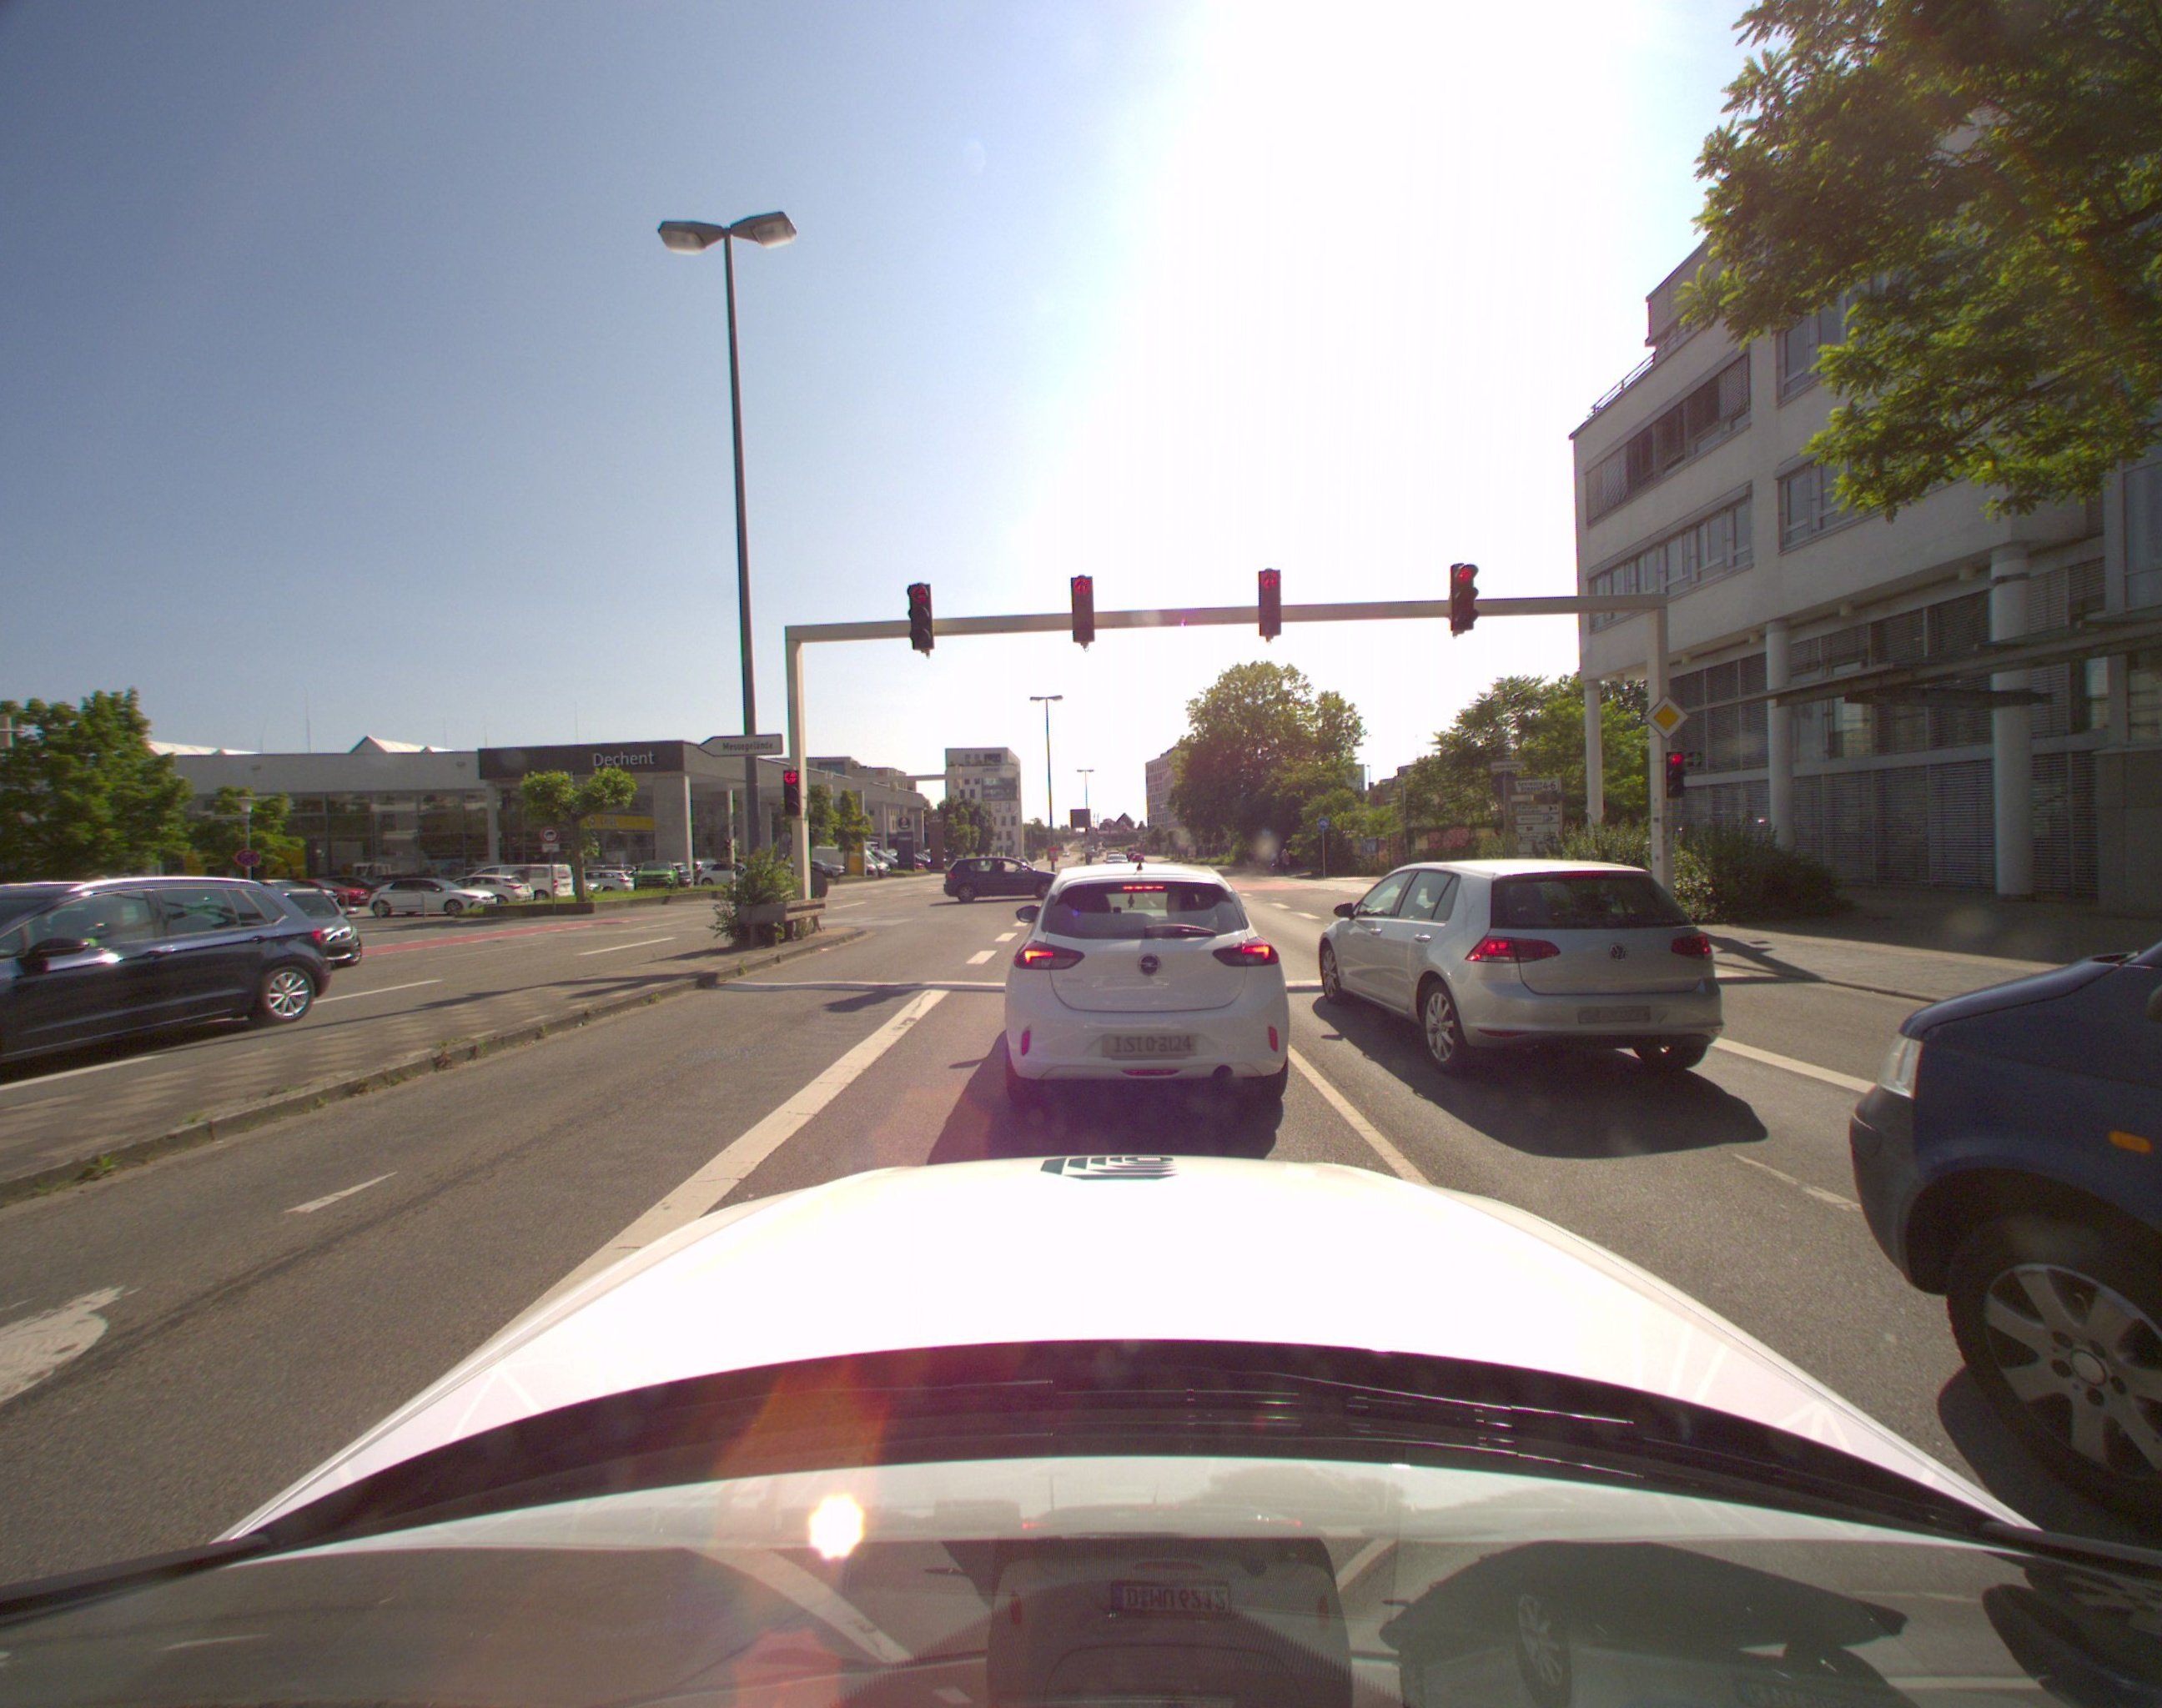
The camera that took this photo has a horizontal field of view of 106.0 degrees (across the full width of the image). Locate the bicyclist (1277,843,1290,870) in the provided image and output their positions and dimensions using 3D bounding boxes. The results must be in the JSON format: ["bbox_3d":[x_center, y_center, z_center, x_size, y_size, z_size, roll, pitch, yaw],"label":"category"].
[{"bbox_3d":[12.399,0.154,49.792,0.650,1.637,0.660,0,-1,1],"label":"bicyclist"}]

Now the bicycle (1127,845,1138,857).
[{"bbox_3d":[9.805,-0.611,155.591,1.986,2.157,4.001,-2,0,1],"label":"bicycle"}]

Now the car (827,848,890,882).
[{"bbox_3d":[-18.660,0.944,68.372,4.469,2.684,2.134,-2,0,10],"label":"car"}]

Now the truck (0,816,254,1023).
[{"bbox_3d":[-14.539,0.883,9.696,2.346,2.545,6.445,-4,0,4],"label":"truck"}]

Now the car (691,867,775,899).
[{"bbox_3d":[-19.974,1.648,46.920,3.981,1.599,1.996,-2,0,-6],"label":"car"}]

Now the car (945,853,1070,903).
[{"bbox_3d":[-2.463,0.763,27.222,3.985,1.442,1.995,-2,0,-8],"label":"car"}]

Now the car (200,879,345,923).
[{"bbox_3d":[-36.635,2.103,37.000,4.348,1.696,1.997,-2,0,-4],"label":"car"}]

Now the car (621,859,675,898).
[{"bbox_3d":[-21.254,1.216,39.943,1.915,1.733,3.258,-2,-1,-35],"label":"car"}]

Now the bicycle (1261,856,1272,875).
[{"bbox_3d":[11.163,0.704,49.028,0.372,1.147,1.034,0,-1,0],"label":"bicycle"}]

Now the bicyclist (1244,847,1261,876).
[{"bbox_3d":[10.678,0.465,50.718,0.876,1.772,0.864,-2,0,1],"label":"bicyclist"}]

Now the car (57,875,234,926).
[{"bbox_3d":[-36.584,1.780,31.950,4.348,1.696,1.997,-2,0,-4],"label":"car"}]

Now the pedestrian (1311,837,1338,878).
[{"bbox_3d":[12.383,0.185,41.495,1.023,2.013,1.039,-2,0,1],"label":"pedestrian"}]

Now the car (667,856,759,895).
[{"bbox_3d":[-19.260,1.091,42.764,3.859,1.837,1.999,-2,0,-1],"label":"car"}]

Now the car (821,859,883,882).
[{"bbox_3d":[-18.507,1.336,65.888,4.334,1.696,2.004,-2,0,6],"label":"car"}]

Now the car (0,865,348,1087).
[{"bbox_3d":[-9.062,0.956,7.007,1.881,1.617,4.129,-2,0,-4],"label":"car"}]

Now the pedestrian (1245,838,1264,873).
[{"bbox_3d":[11.553,0.096,54.212,1.023,2.238,1.039,-2,0,1],"label":"pedestrian"}]

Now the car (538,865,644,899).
[{"bbox_3d":[-26.159,1.494,43.571,4.352,1.591,1.996,-2,0,-7],"label":"car"}]

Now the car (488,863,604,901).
[{"bbox_3d":[-26.705,1.381,40.789,4.353,1.696,1.995,-2,0,-7],"label":"car"}]

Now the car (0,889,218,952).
[{"bbox_3d":[-26.697,1.799,22.372,3.894,1.438,1.775,-2,0,-4],"label":"car"}]

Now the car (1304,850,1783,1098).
[{"bbox_3d":[3.329,0.738,6.901,1.801,1.429,4.000,-2,-1,1],"label":"car"}]

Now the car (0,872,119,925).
[{"bbox_3d":[-43.163,1.821,33.683,3.984,2.013,1.995,-2,0,-8],"label":"car"}]

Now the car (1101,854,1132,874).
[{"bbox_3d":[2.455,0.693,57.168,1.987,1.331,3.999,0,-1,0],"label":"car"}]

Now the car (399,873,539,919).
[{"bbox_3d":[-26.247,1.776,35.064,4.348,1.696,1.997,-2,0,-4],"label":"car"}]

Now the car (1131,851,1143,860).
[{"bbox_3d":[8.648,0.297,126.021,1.799,1.386,4.001,0,-1,2],"label":"car"}]

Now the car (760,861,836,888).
[{"bbox_3d":[-18.984,1.351,54.694,4.343,1.696,1.999,-2,0,-1],"label":"car"}]

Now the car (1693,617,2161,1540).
[{"bbox_3d":[3.222,0.442,0.550,1.986,1.948,4.892,-2,-1,2],"label":"car"}]

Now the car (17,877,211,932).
[{"bbox_3d":[-34.877,1.806,29.481,4.348,1.696,1.997,-2,0,-4],"label":"car"}]

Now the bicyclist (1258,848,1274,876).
[{"bbox_3d":[11.138,0.460,49.119,0.687,1.643,0.775,-2,0,-7],"label":"bicyclist"}]

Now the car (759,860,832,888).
[{"bbox_3d":[-19.940,1.378,56.947,4.344,1.696,1.999,-2,0,-1],"label":"car"}]

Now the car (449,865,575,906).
[{"bbox_3d":[-26.575,1.440,38.193,4.353,1.696,1.995,-2,0,-7],"label":"car"}]

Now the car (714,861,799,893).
[{"bbox_3d":[-19.715,1.383,49.565,4.284,1.765,1.999,-2,0,-1],"label":"car"}]

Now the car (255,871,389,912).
[{"bbox_3d":[-36.620,1.775,39.400,4.352,1.696,1.995,-2,0,-7],"label":"car"}]

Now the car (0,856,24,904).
[{"bbox_3d":[-40.606,0.992,28.250,4.371,1.696,1.987,-2,0,-20],"label":"car"}]

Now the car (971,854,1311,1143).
[{"bbox_3d":[0.379,0.776,6.366,1.773,1.494,4.001,-2,0,2],"label":"car"}]

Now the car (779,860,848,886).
[{"bbox_3d":[-19.729,1.364,60.142,4.344,1.696,1.999,-2,0,-1],"label":"car"}]

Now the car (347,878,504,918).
[{"bbox_3d":[-25.538,1.700,31.846,4.348,1.300,1.997,-2,0,-4],"label":"car"}]

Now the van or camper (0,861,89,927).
[{"bbox_3d":[-41.992,1.572,31.319,4.711,2.400,1.995,-2,0,-8],"label":"van or camper"}]

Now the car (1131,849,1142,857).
[{"bbox_3d":[9.577,-0.125,141.456,1.799,1.386,4.001,0,-1,2],"label":"car"}]

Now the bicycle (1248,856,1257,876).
[{"bbox_3d":[10.692,0.745,50.712,0.371,1.216,1.154,0,0,2],"label":"bicycle"}]

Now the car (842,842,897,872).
[{"bbox_3d":[-19.099,0.269,73.674,4.334,2.601,2.004,-2,0,6],"label":"car"}]

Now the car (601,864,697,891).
[{"bbox_3d":[-24.705,1.372,46.665,4.352,1.268,1.995,-3,-2,-7],"label":"car"}]
